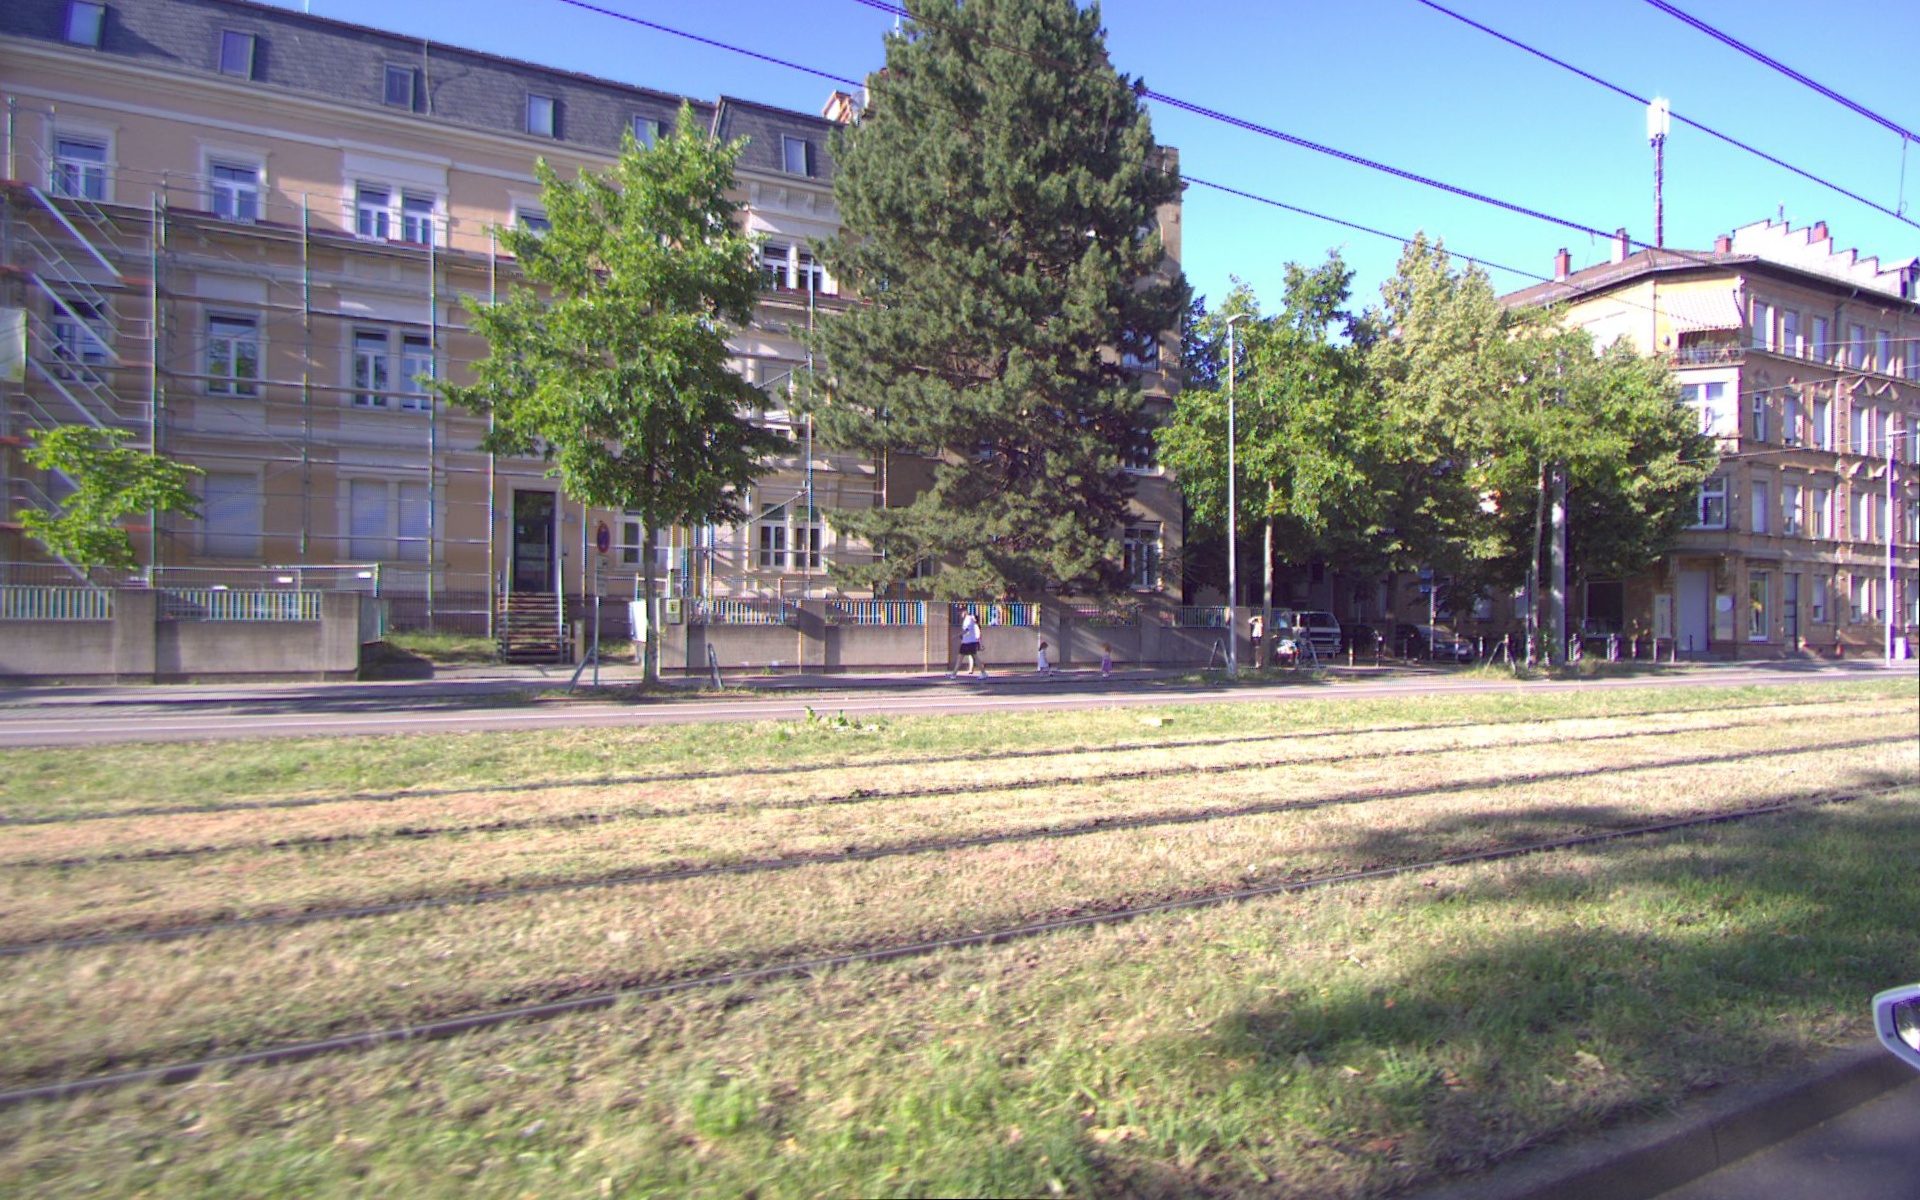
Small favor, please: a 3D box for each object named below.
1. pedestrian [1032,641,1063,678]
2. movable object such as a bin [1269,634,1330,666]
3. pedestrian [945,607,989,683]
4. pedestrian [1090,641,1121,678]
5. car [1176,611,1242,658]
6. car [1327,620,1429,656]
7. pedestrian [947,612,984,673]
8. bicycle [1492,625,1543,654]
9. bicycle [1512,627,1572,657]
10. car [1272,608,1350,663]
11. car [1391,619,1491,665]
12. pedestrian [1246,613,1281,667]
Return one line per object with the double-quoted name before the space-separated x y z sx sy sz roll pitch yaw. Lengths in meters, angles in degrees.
"pedestrian" 2.234 1.513 25.731 0.576 0.944 0.649 1 -2 -19
"movable object such as a bin" 10.342 1.518 30.627 1.220 0.876 1.240 1 1 -26
"pedestrian" 0.165 1.086 24.411 0.876 1.799 0.648 1 -2 -25
"pedestrian" 3.787 1.537 26.160 0.576 0.944 0.649 1 -2 -19
"car" 11.688 1.538 46.838 2.028 1.943 5.005 2 1 25
"car" 19.572 1.760 47.165 1.974 1.491 4.164 2 0 -26
"pedestrian" 0.144 1.102 26.194 0.773 1.560 0.648 1 -2 -25
"bicycle" 23.931 1.691 43.103 2.211 1.194 0.782 1 1 -26
"bicycle" 24.287 1.752 41.911 2.201 1.194 0.786 1 1 -13
"car" 14.466 1.403 41.665 1.960 2.041 4.616 1 1 5
"car" 17.693 1.503 37.190 1.960 1.491 4.194 1 0 5
"pedestrian" 9.233 1.209 30.559 0.787 1.614 0.616 1 1 -26
